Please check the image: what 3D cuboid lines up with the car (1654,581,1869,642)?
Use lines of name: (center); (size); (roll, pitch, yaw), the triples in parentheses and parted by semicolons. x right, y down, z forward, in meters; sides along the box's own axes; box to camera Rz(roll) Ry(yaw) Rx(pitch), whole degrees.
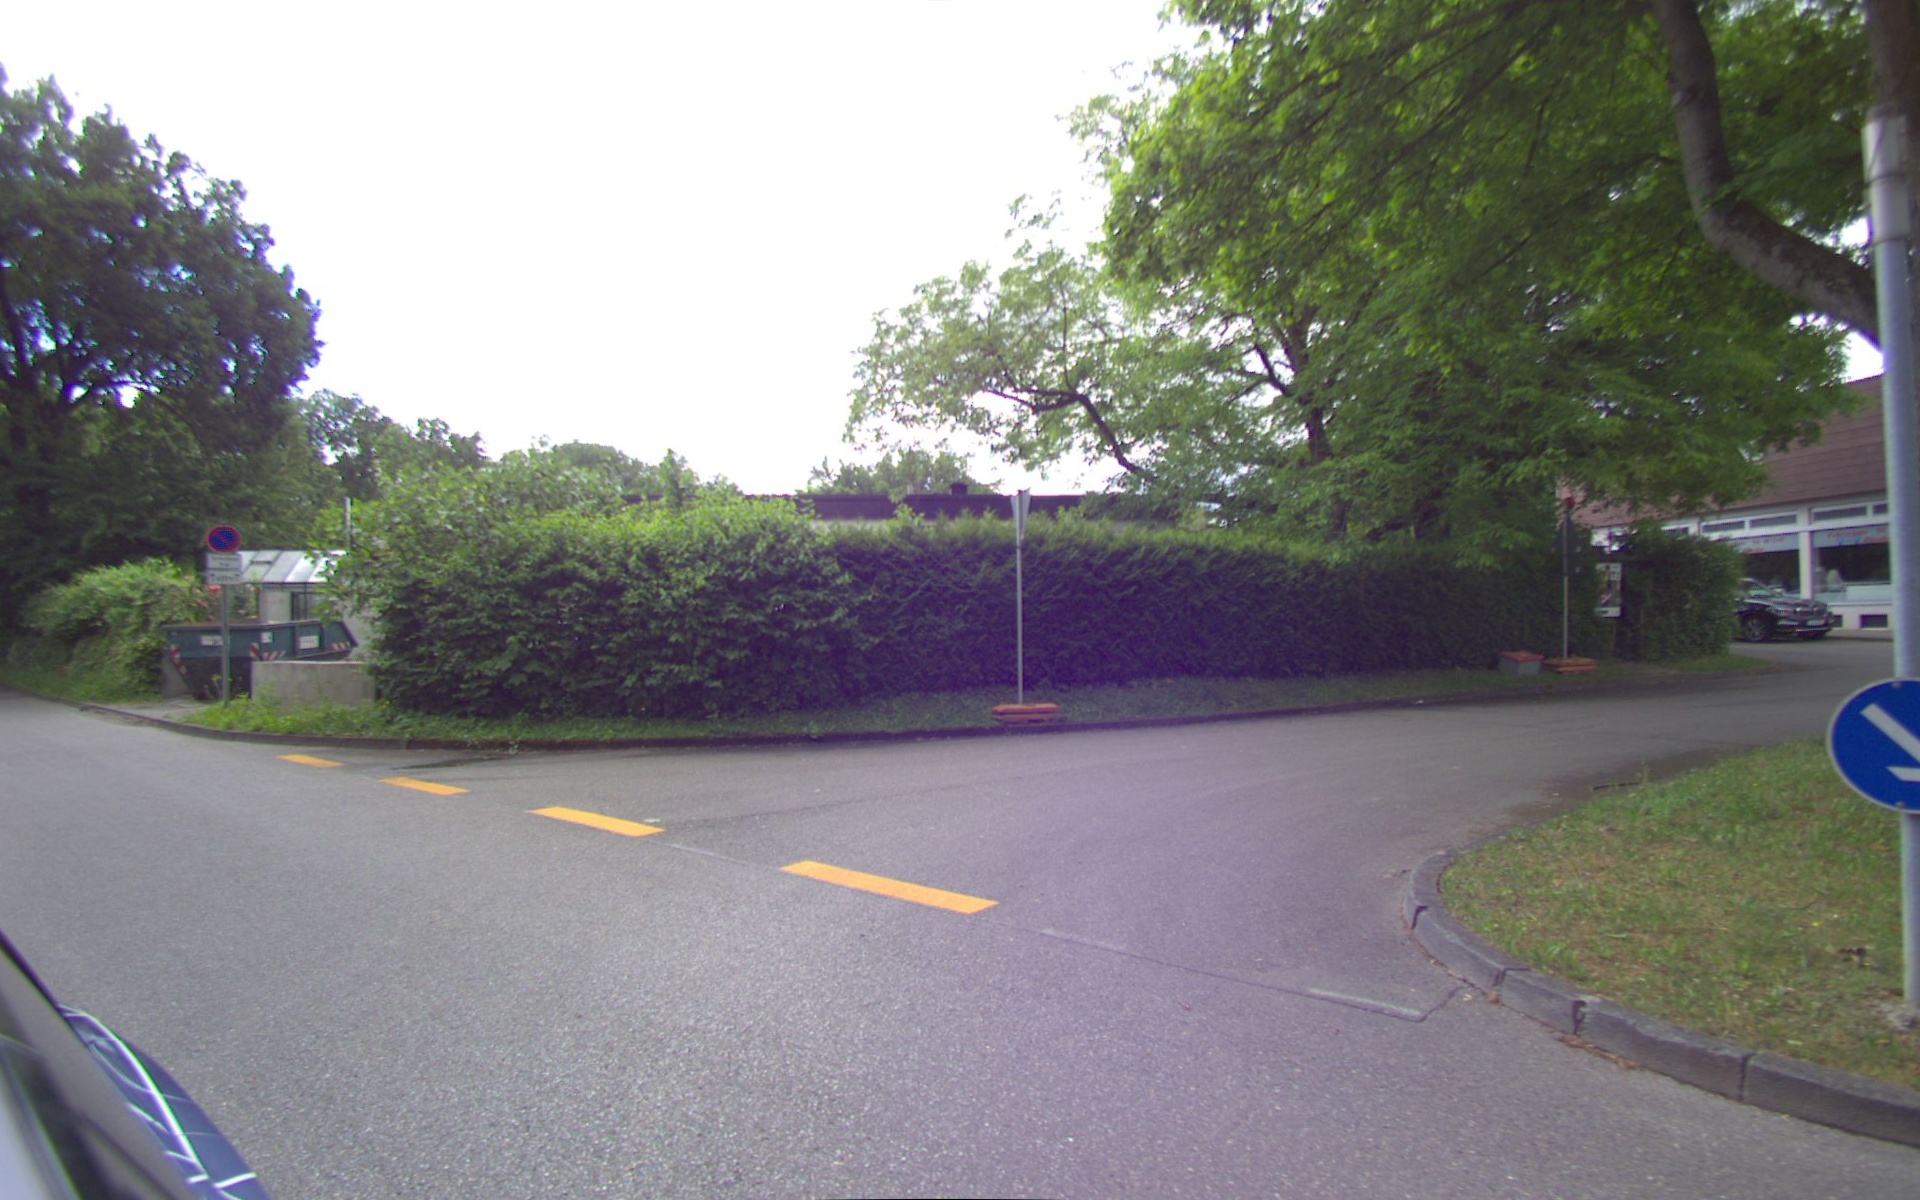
car: (21.223, 0.331, 27.080); (1.969, 1.386, 4.285); (-3, -1, -7)
